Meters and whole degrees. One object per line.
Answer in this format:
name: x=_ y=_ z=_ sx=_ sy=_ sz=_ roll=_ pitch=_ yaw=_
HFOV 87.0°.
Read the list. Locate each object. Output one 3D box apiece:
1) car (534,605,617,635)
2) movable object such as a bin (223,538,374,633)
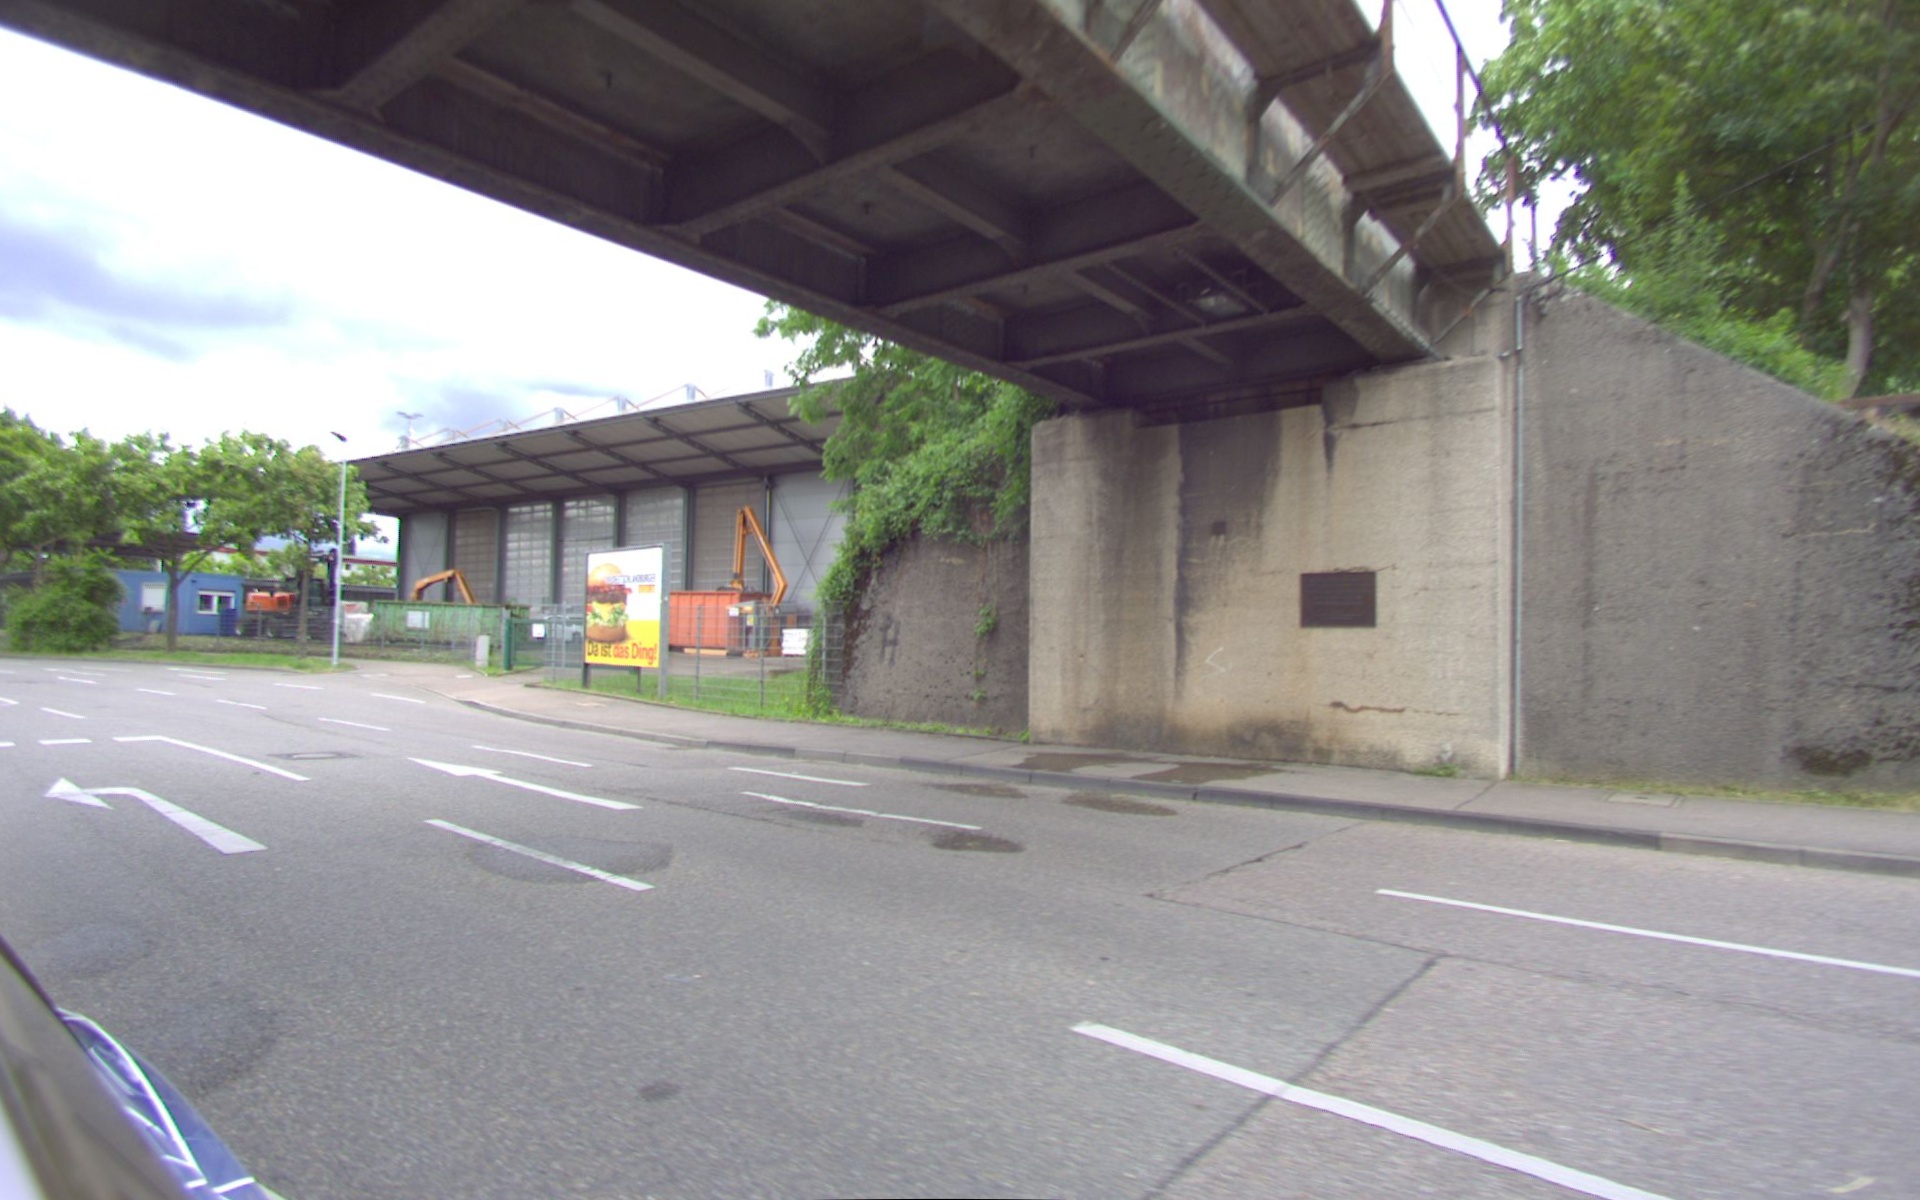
car: x=-18.795 y=0.961 z=49.414 sx=3.987 sy=1.384 sz=1.719 roll=0 pitch=-3 yaw=32
movable object such as a bin: x=-30.967 y=-0.574 z=47.368 sx=6.514 sy=4.122 sz=2.711 roll=0 pitch=-4 yaw=25
